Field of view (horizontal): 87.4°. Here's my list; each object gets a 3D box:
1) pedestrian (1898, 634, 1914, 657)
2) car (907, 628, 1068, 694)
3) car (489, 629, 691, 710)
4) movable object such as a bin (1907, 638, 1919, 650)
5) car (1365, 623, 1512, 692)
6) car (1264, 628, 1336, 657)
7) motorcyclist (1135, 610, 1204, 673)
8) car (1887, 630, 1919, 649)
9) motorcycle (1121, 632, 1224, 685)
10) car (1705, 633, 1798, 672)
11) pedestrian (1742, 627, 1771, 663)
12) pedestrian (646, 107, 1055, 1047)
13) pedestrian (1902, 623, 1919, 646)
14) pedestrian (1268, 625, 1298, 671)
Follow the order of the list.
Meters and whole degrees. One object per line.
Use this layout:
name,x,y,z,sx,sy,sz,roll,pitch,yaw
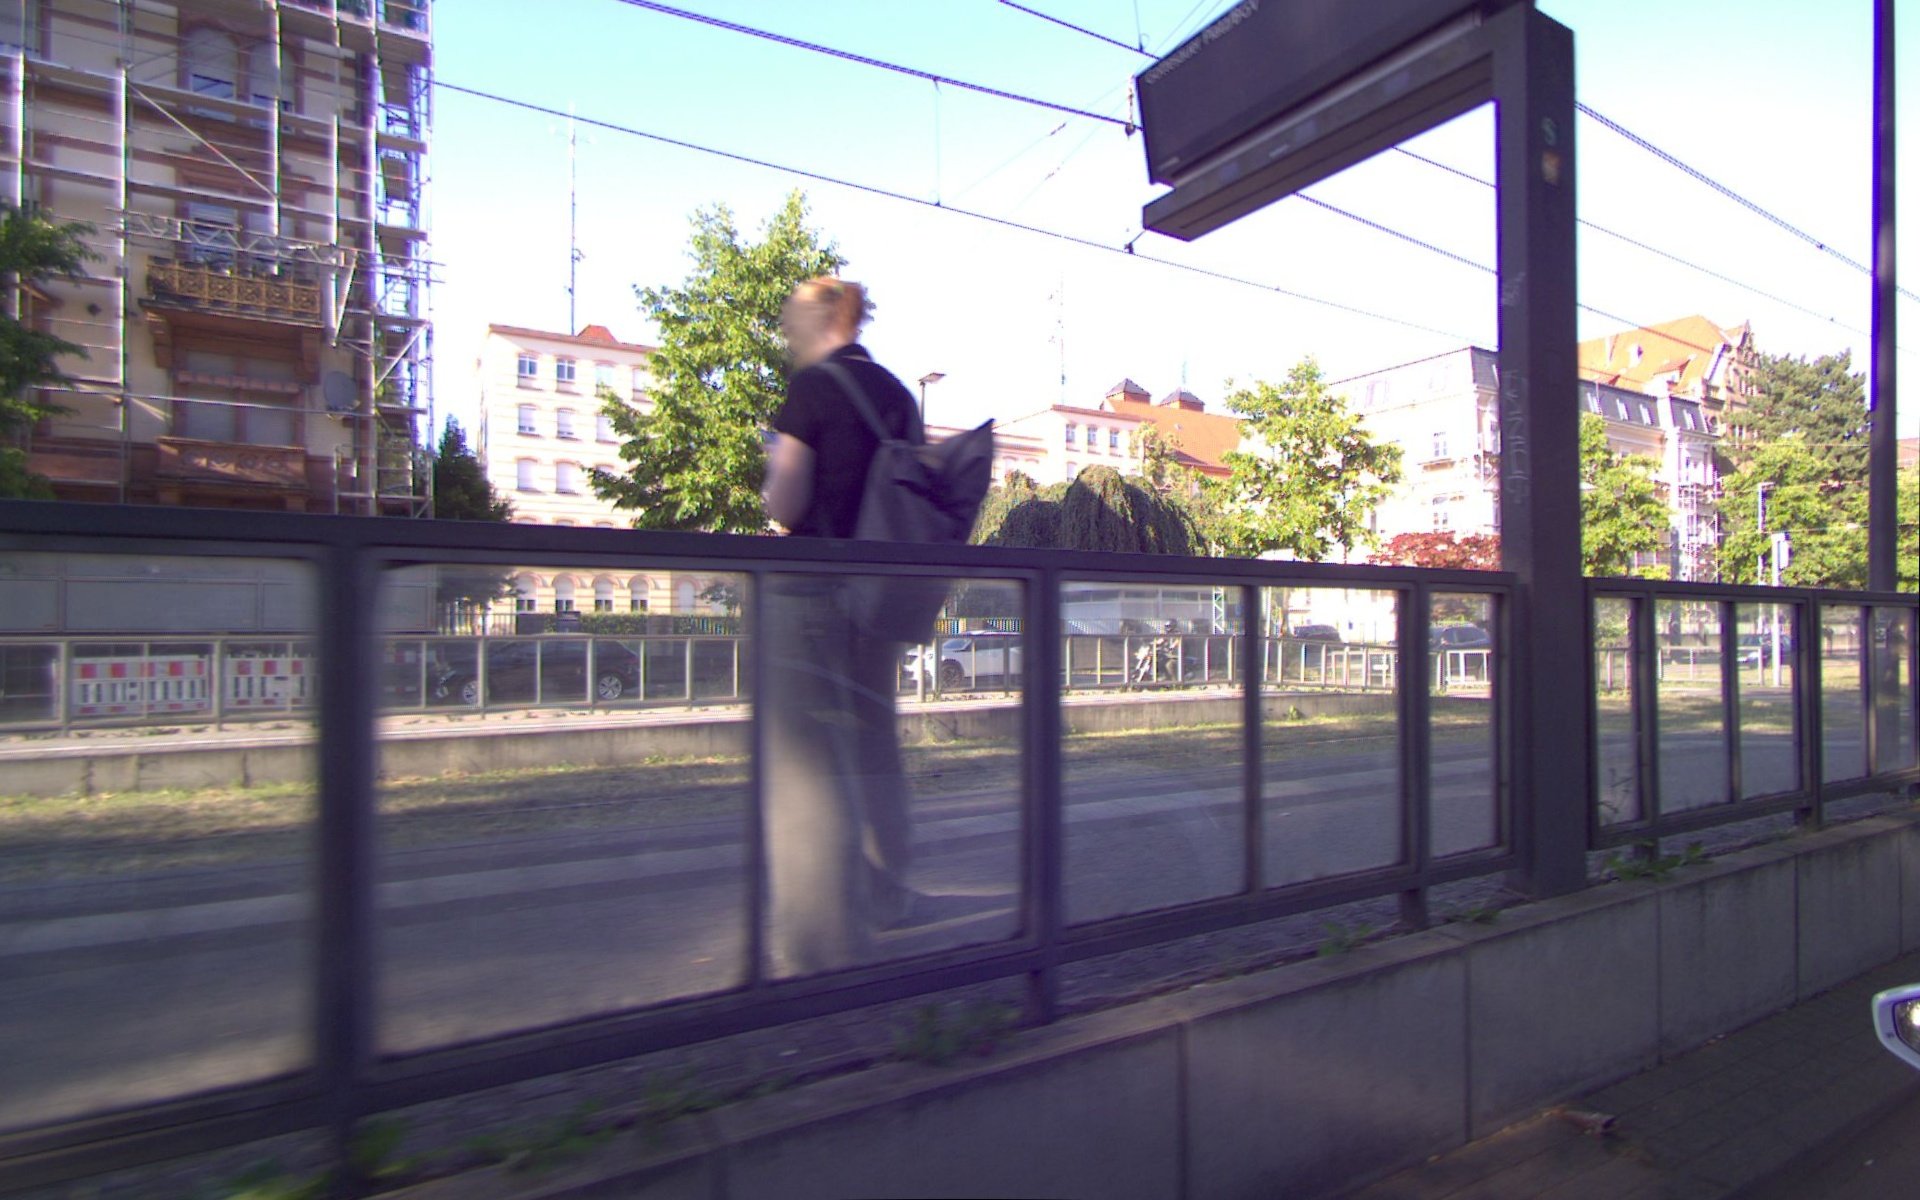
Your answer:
pedestrian,67.871,3.239,72.065,0.789,1.614,0.614,1,0,-32
car,0.752,1.606,27.100,4.012,1.607,1.715,1,0,-27
car,-8.137,1.475,22.139,4.012,1.607,1.715,1,0,-27
movable object such as a bin,69.156,3.175,72.247,1.223,0.876,1.238,2,0,-32
car,13.827,1.620,29.021,3.978,1.830,1.856,1,0,-29
car,18.284,2.277,53.941,3.807,1.426,1.598,1,0,-31
motorcyclist,4.567,0.890,21.912,1.264,1.317,0.812,1,0,-35
car,76.479,3.131,79.647,1.961,1.491,4.191,1,-1,-1
motorcycle,4.678,1.251,22.006,2.378,1.087,0.812,1,0,-36
car,30.937,2.017,39.225,3.807,1.426,1.598,1,0,-31
pedestrian,43.068,2.431,54.302,1.074,1.953,0.854,1,-3,-32
pedestrian,-0.286,-0.037,2.330,0.670,1.713,0.753,1,0,-30
pedestrian,66.568,2.425,70.340,0.774,1.559,0.646,1,-3,-32
pedestrian,12.017,1.793,37.375,0.805,1.669,0.719,1,-3,-37
